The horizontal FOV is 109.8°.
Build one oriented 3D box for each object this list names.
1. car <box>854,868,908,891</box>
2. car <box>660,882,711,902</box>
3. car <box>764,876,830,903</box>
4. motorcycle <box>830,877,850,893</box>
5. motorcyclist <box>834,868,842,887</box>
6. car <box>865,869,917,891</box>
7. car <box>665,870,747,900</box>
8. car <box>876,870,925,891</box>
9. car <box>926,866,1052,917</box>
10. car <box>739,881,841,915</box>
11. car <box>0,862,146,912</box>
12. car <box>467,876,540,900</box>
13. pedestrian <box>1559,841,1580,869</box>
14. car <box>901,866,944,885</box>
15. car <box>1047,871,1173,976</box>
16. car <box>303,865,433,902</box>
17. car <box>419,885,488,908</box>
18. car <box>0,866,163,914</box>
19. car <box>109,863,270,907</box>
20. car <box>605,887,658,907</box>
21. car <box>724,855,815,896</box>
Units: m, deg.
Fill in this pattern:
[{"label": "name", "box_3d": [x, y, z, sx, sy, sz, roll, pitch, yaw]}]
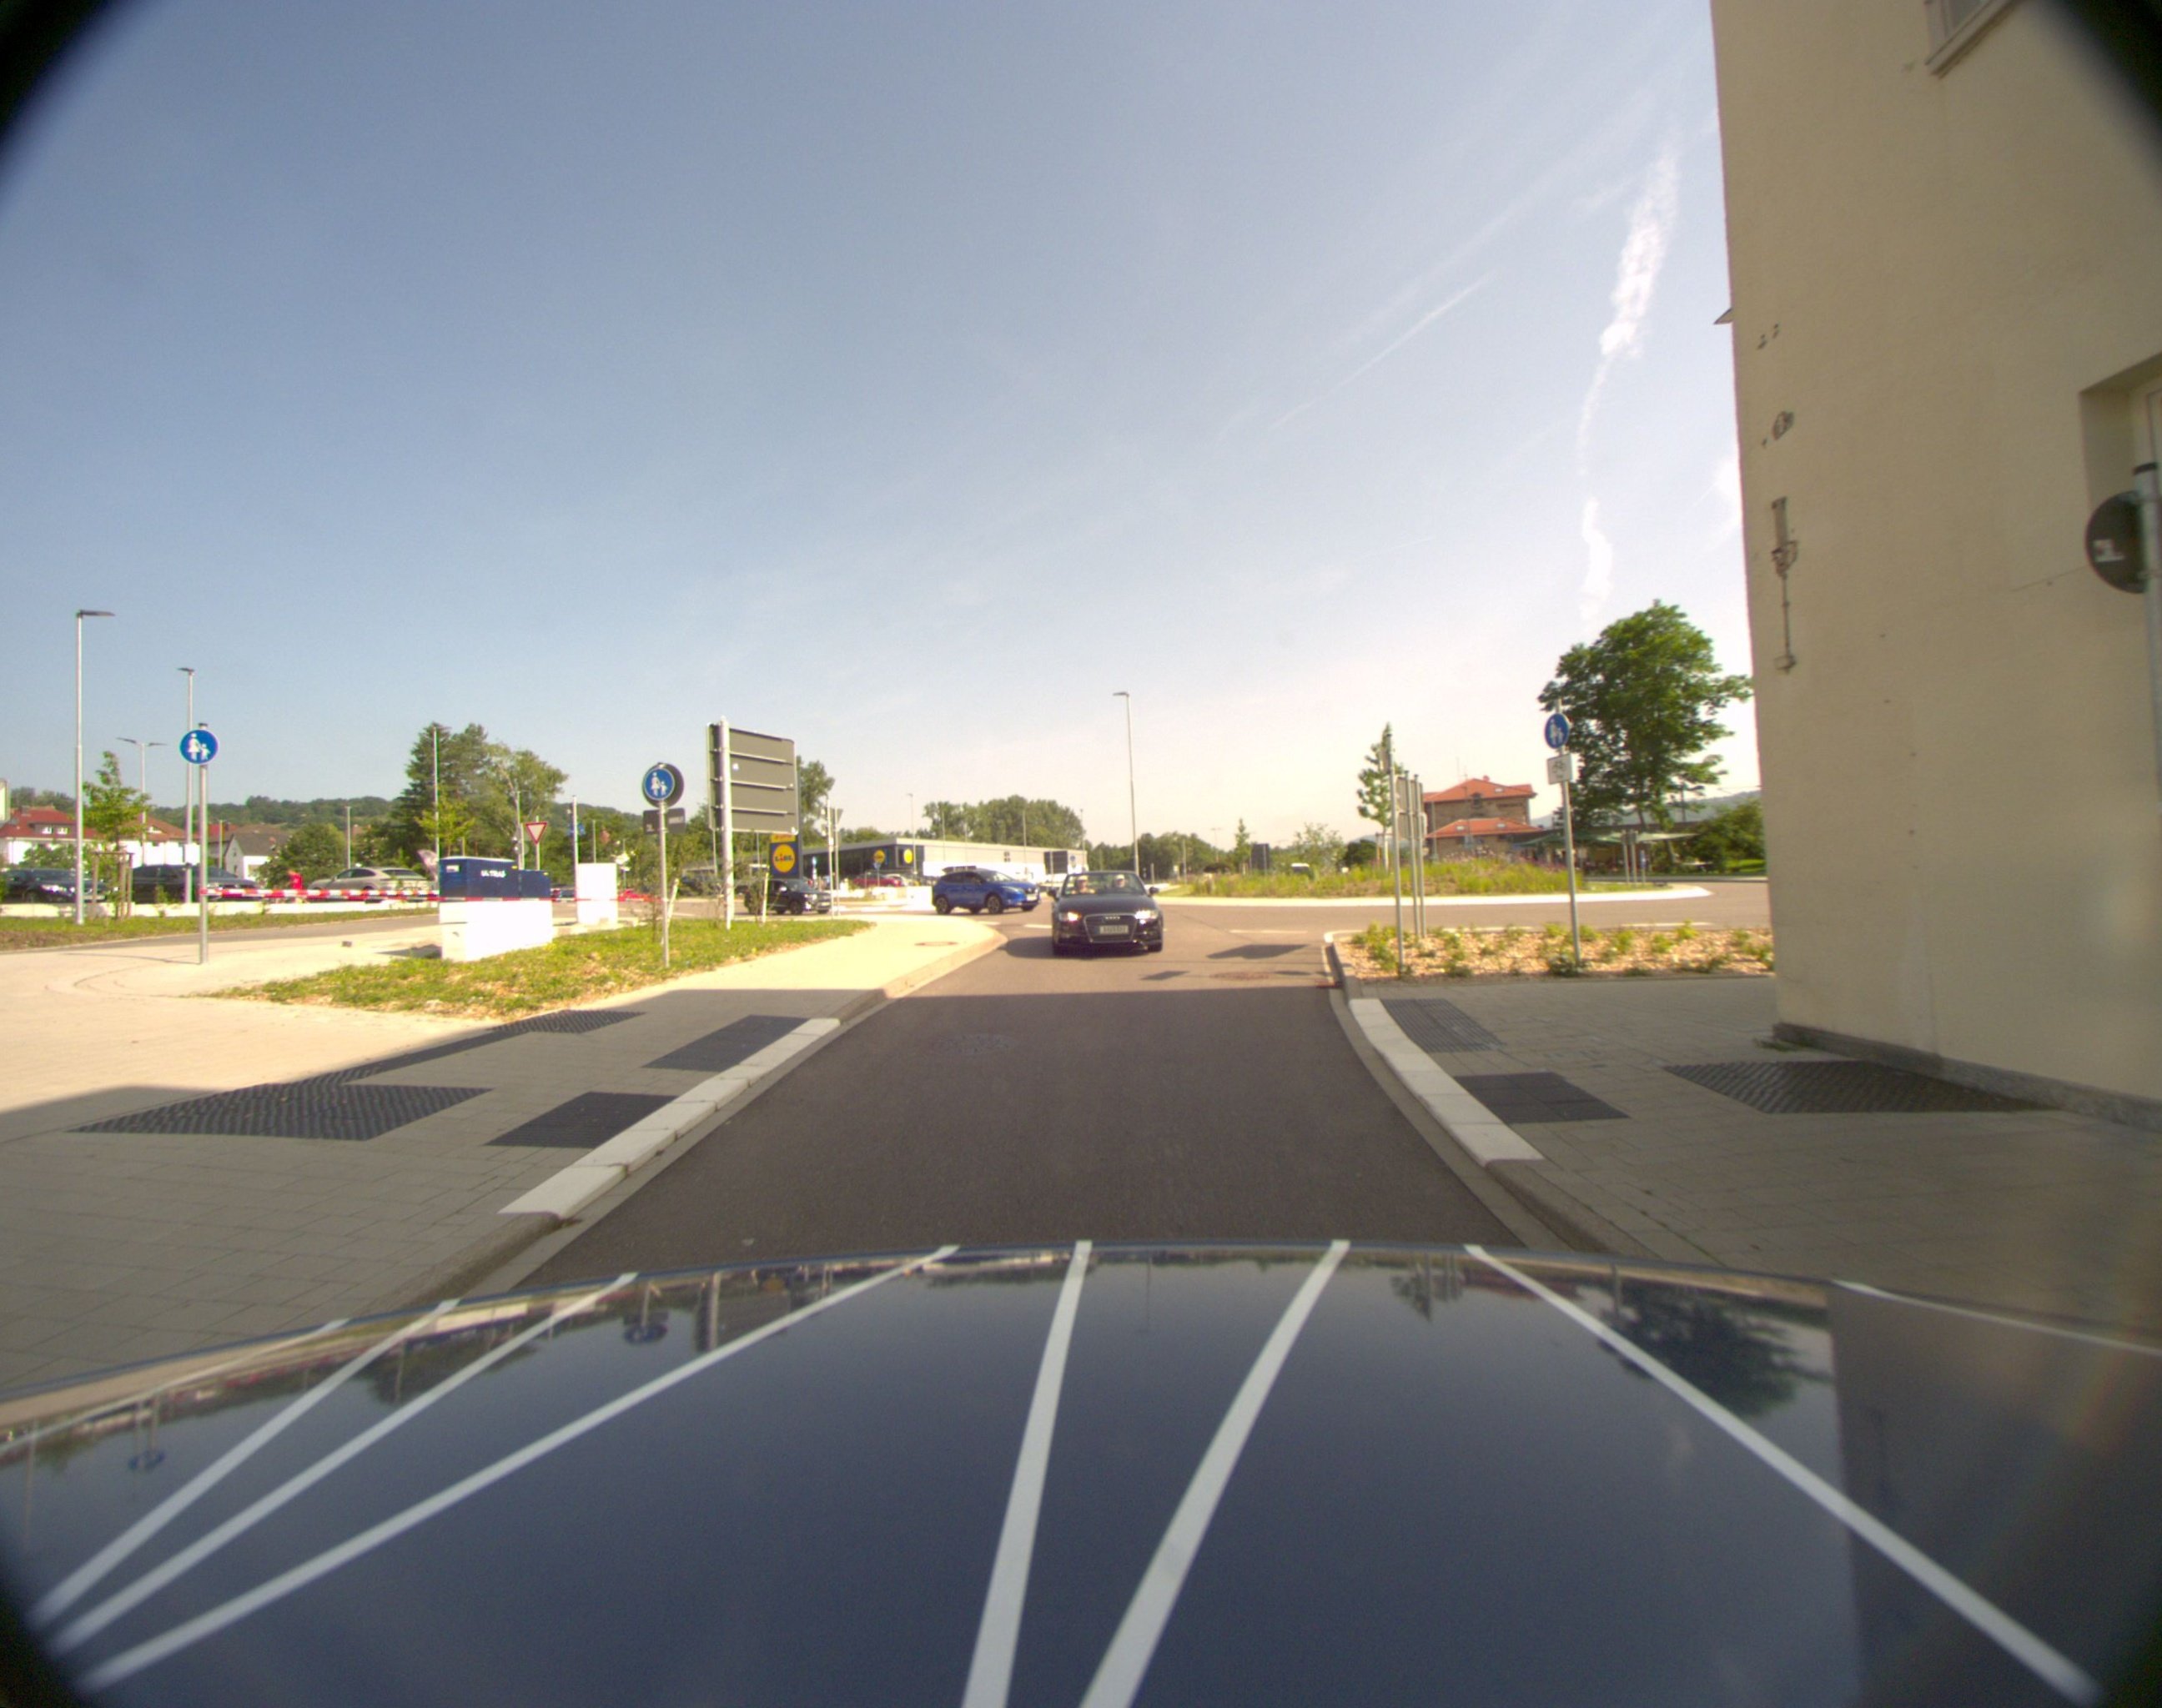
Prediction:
[{"label": "car", "box_3d": [-16.932, 2.187, 64.502, 4.019, 1.564, 1.780, -5, -2, 1]}, {"label": "car", "box_3d": [-34.650, 3.286, 66.663, 1.663, 1.564, 3.792, -5, -3, 16]}, {"label": "car", "box_3d": [-21.583, 2.698, 57.763, 4.468, 1.592, 1.836, -6, -3, 19]}, {"label": "motorcycle", "box_3d": [-19.454, 2.500, 61.363, 1.899, 1.183, 0.592, -6, -4, 42]}, {"label": "motorcyclist", "box_3d": [-19.772, 1.915, 61.813, 0.515, 1.533, 0.581, -4, -2, -22]}, {"label": "car", "box_3d": [-16.686, 2.280, 66.863, 4.019, 1.564, 1.780, -5, -2, 1]}, {"label": "car", "box_3d": [-24.680, 2.045, 50.011, 4.851, 1.520, 1.926, -6, -3, 21]}, {"label": "car", "box_3d": [-16.578, 2.413, 69.816, 3.997, 1.564, 1.704, -5, -2, -2]}, {"label": "car", "box_3d": [-3.360, 1.293, 27.330, 4.341, 1.653, 1.891, -1, 0, 36]}, {"label": "car", "box_3d": [-12.889, 1.914, 33.613, 4.220, 1.384, 1.646, -1, -1, 22]}, {"label": "car", "box_3d": [-33.387, 1.095, 24.729, 4.452, 1.545, 1.861, -1, -4, 13]}, {"label": "car", "box_3d": [-38.439, 2.237, 50.674, 1.523, 1.436, 3.637, -5, -3, 17]}, {"label": "pedestrian", "box_3d": [36.047, 0.093, 56.097, 0.859, 2.001, 0.709, -4, -2, -10]}, {"label": "car", "box_3d": [-16.169, 2.247, 77.733, 3.997, 1.564, 1.704, -5, -2, -2]}, {"label": "car", "box_3d": [0.326, 1.046, 12.994, 1.722, 1.314, 4.223, -4, 0, -3]}, {"label": "car", "box_3d": [-31.397, 1.335, 33.492, 4.812, 1.545, 1.861, -1, -4, 15]}, {"label": "car", "box_3d": [-41.571, 2.793, 50.423, 1.524, 1.365, 3.369, -4, -3, 8]}, {"label": "car", "box_3d": [-43.353, 1.524, 32.609, 1.996, 1.868, 4.585, -3, -2, 14]}, {"label": "car", "box_3d": [-32.419, 1.156, 27.663, 4.452, 1.545, 1.861, -1, -4, 13]}, {"label": "car", "box_3d": [-40.080, 3.826, 67.843, 1.760, 1.564, 3.792, -5, -3, 16]}, {"label": "car", "box_3d": [-22.625, 1.588, 55.166, 6.080, 2.368, 2.064, -6, -3, 19]}]
